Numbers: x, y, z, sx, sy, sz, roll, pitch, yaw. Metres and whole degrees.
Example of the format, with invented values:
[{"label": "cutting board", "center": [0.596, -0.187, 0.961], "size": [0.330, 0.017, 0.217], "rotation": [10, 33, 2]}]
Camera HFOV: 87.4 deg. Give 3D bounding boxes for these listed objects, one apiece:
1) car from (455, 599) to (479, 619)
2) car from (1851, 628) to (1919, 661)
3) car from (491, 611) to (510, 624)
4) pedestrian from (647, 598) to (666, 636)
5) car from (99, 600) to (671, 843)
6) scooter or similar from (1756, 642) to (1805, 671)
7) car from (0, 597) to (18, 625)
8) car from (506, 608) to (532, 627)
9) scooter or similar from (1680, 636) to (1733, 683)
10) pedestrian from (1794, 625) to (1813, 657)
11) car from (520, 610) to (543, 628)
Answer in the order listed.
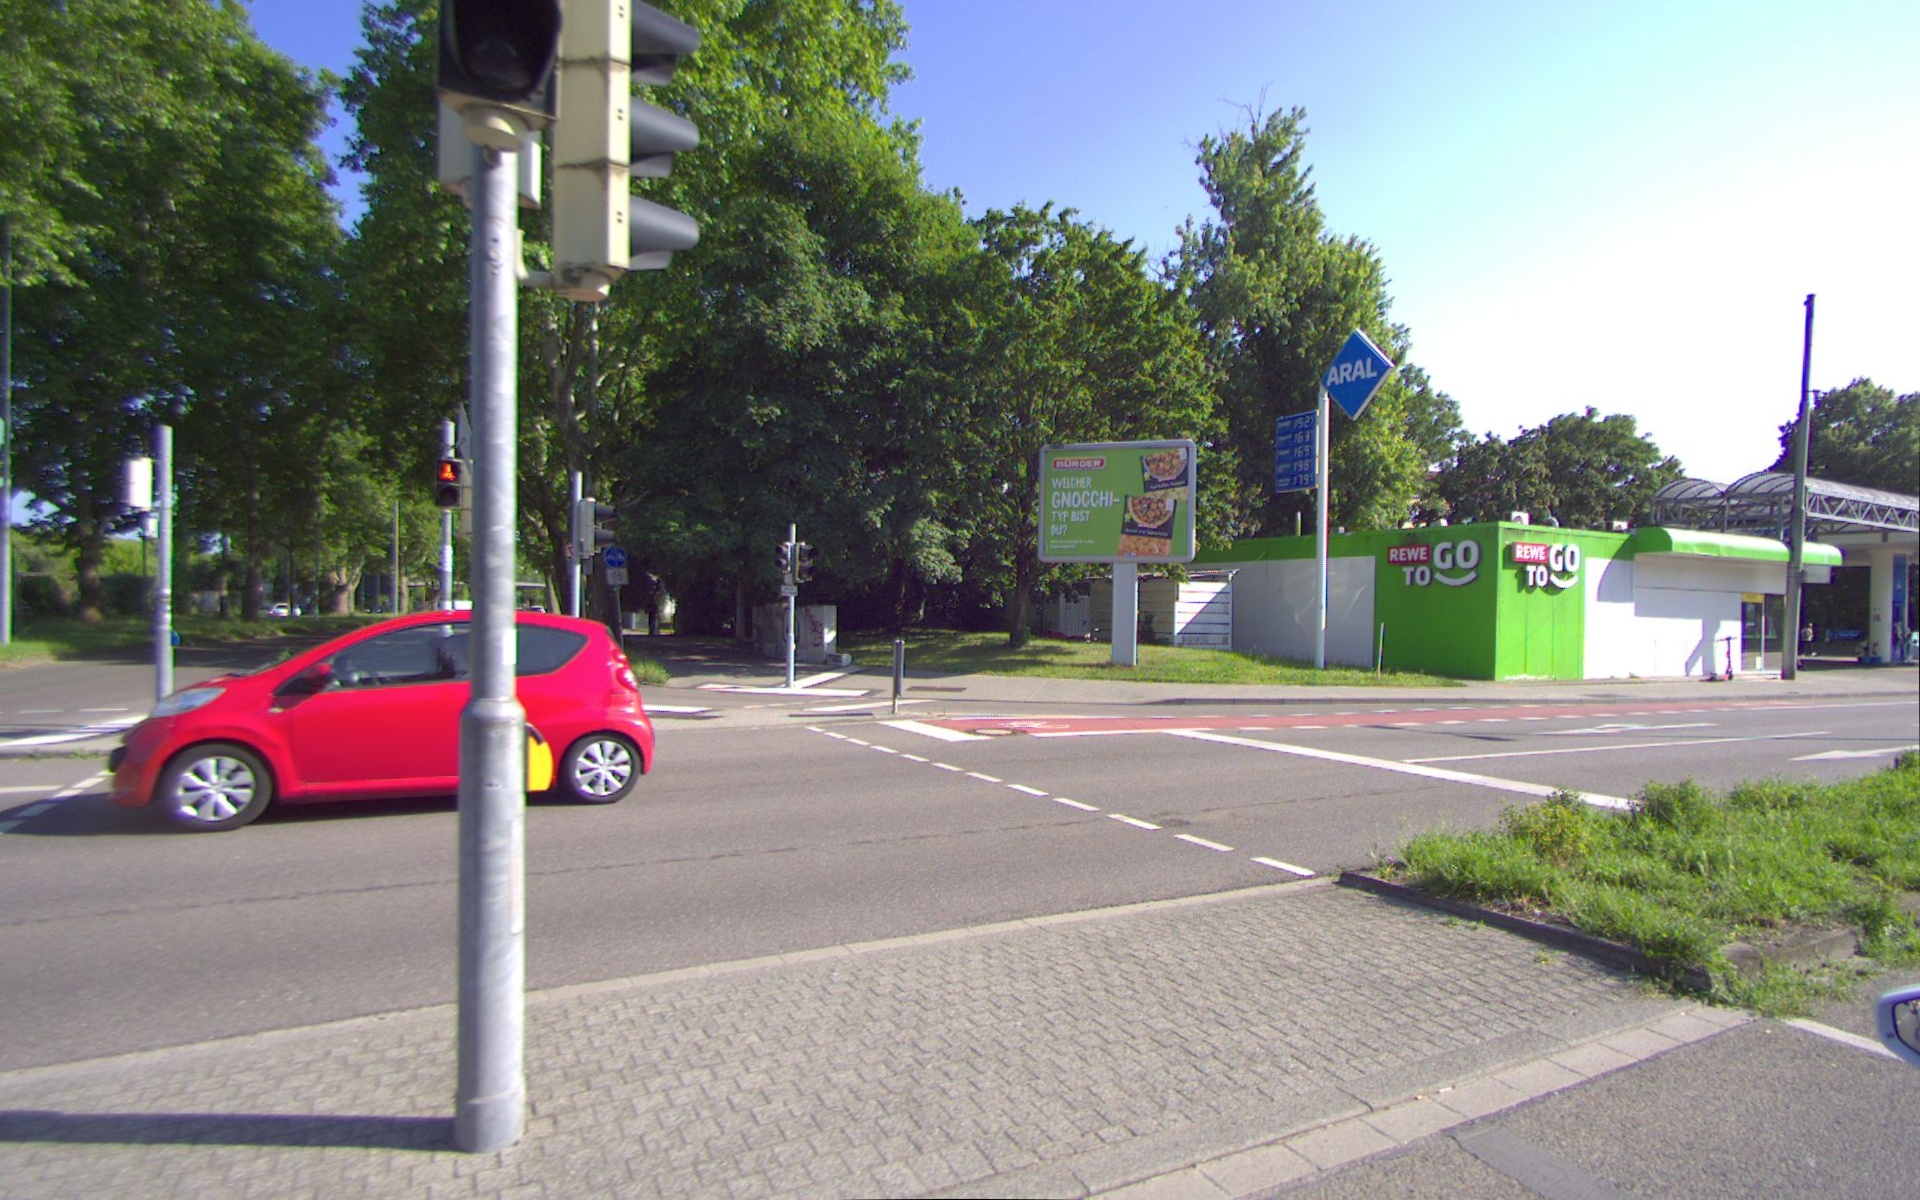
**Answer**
[{"label": "car", "center": [-50.850, 0.932, 103.643], "size": [1.797, 1.989, 4.379], "rotation": [1, -1, -22]}, {"label": "car", "center": [43.217, 2.049, 46.546], "size": [4.072, 1.412, 1.736], "rotation": [1, -1, -30]}, {"label": "car", "center": [-52.835, 2.009, 115.607], "size": [1.797, 1.425, 3.521], "rotation": [1, -1, -22]}, {"label": "pedestrian", "center": [-14.763, 0.827, 48.864], "size": [0.863, 1.793, 0.685], "rotation": [1, 0, -16]}, {"label": "car", "center": [-3.979, 0.752, 7.408], "size": [3.292, 1.435, 1.567], "rotation": [1, -1, -29]}, {"label": "scooter or similar", "center": [29.181, 2.004, 35.742], "size": [0.493, 1.000, 1.254], "rotation": [1, -1, -28]}, {"label": "car", "center": [-47.336, 0.550, 48.558], "size": [1.486, 1.325, 3.406], "rotation": [2, 1, -22]}, {"label": "car", "center": [-36.466, 1.449, 83.100], "size": [1.797, 1.544, 3.521], "rotation": [1, -1, -22]}, {"label": "scooter or similar", "center": [20.222, 1.604, 27.218], "size": [1.292, 1.190, 0.530], "rotation": [1, 4, -26]}, {"label": "pedestrian", "center": [46.350, 2.237, 55.198], "size": [0.843, 1.751, 0.656], "rotation": [1, -1, -41]}, {"label": "car", "center": [-38.172, 1.688, 89.515], "size": [1.797, 1.544, 3.521], "rotation": [1, -1, -22]}]
